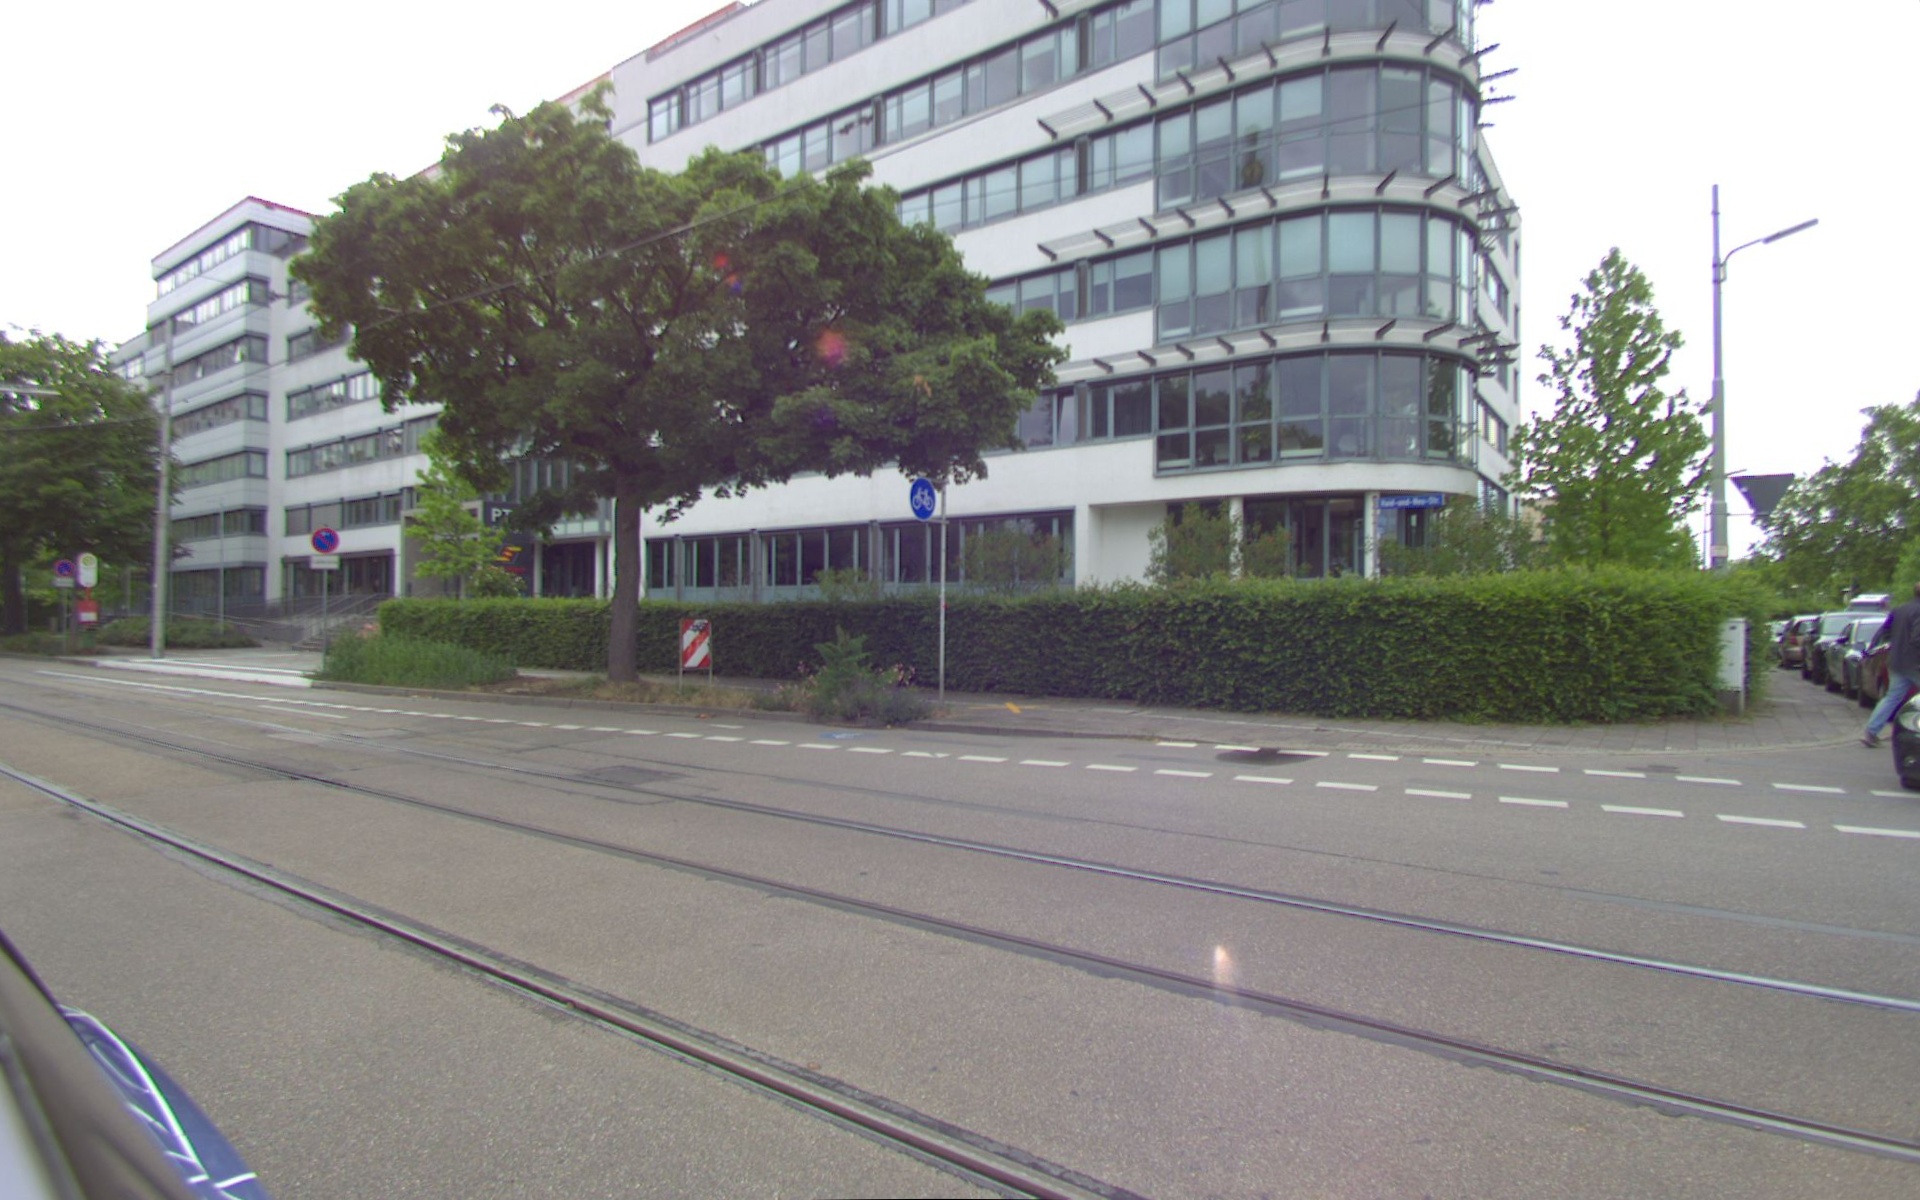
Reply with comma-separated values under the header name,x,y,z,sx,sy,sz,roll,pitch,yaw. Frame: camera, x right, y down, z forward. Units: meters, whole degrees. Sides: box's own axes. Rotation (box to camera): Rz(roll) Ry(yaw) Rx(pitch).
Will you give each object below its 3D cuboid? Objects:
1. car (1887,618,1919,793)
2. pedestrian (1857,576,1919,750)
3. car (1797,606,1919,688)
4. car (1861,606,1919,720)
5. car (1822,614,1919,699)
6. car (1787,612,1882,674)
name,x,y,z,sx,sy,sz,roll,pitch,yaw
car,9.685,0.834,8.509,4.043,1.379,1.793,0,0,-32
pedestrian,10.471,0.668,10.988,1.059,1.839,0.796,-1,0,41
car,20.169,0.970,22.510,1.995,1.663,3.954,0,-1,34
car,13.835,0.788,13.943,1.723,1.433,3.969,-3,-2,37
car,16.919,0.953,18.213,1.775,1.359,3.999,0,-1,36
car,25.974,1.218,30.171,1.886,1.694,3.789,0,0,37
